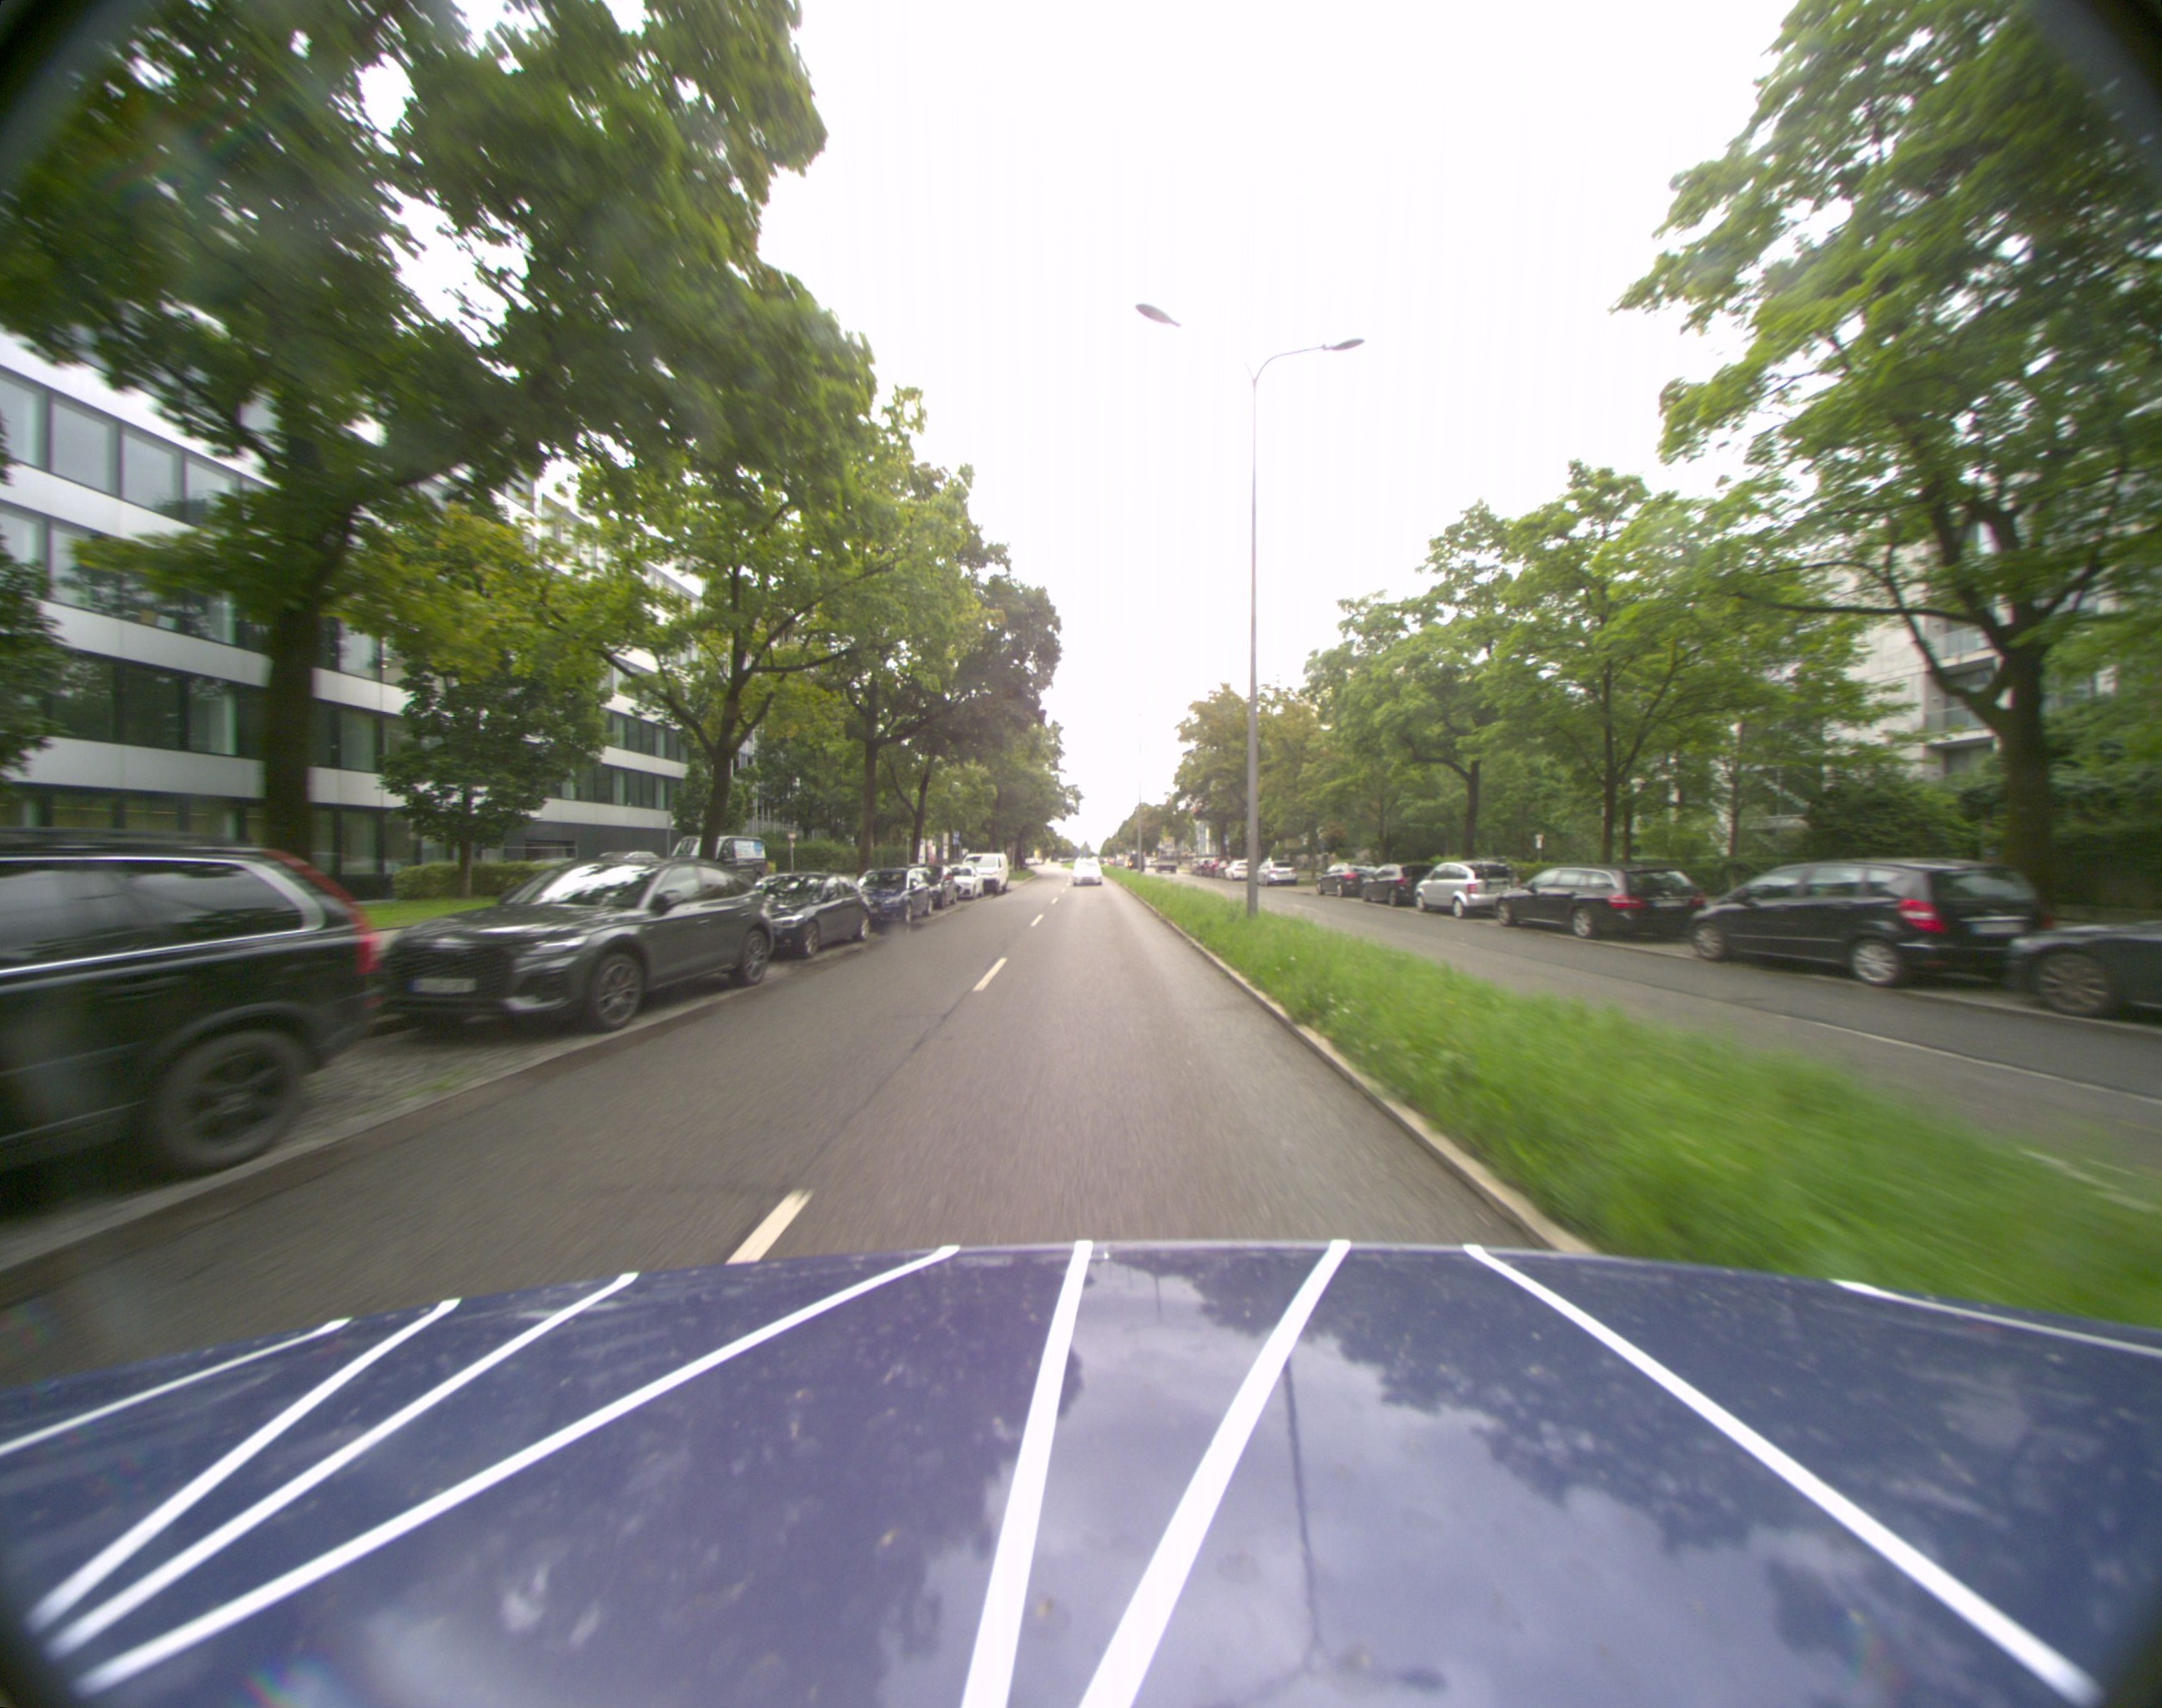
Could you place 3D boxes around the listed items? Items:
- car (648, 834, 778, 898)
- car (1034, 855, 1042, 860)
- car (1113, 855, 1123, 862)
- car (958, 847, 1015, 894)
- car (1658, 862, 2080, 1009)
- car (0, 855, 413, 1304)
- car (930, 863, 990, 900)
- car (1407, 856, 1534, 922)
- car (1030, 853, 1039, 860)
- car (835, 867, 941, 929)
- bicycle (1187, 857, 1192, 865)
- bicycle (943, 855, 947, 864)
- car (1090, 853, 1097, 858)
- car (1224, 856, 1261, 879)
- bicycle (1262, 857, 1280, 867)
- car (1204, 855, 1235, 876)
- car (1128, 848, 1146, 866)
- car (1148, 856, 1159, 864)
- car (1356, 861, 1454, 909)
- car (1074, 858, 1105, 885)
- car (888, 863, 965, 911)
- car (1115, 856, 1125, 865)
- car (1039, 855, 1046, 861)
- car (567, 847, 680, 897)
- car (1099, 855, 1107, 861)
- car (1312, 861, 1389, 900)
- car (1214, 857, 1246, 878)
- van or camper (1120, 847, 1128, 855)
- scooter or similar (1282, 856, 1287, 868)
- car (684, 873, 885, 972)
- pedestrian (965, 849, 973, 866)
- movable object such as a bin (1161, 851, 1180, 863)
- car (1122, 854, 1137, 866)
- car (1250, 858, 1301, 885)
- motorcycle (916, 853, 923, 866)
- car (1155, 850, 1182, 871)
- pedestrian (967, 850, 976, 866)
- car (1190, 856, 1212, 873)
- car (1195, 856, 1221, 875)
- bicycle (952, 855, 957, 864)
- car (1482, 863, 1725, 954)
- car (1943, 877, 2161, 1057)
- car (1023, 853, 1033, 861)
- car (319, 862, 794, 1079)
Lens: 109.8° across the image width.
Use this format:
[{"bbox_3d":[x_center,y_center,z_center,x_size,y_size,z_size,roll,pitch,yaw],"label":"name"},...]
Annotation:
[{"bbox_3d":[-14.586,0.435,30.662,2.271,2.293,6.267,1,0,-1],"label":"car"},{"bbox_3d":[-10.633,0.936,189.002,1.590,1.310,3.735,1,0,1],"label":"car"},{"bbox_3d":[7.930,0.881,163.628,1.920,1.475,4.865,1,0,1],"label":"car"},{"bbox_3d":[-4.592,0.772,37.810,1.992,2.145,5.555,1,0,1],"label":"car"},{"bbox_3d":[10.663,0.964,10.847,1.689,1.587,4.210,-2,0,1],"label":"car"},{"bbox_3d":[-5.305,0.909,2.497,1.897,1.789,4.861,1,0,1],"label":"car"},{"bbox_3d":[-4.942,1.089,31.480,1.706,1.389,4.233,1,0,1],"label":"car"},{"bbox_3d":[10.913,0.916,21.588,1.629,1.638,3.868,-3,0,2],"label":"car"},{"bbox_3d":[-10.973,0.630,178.297,1.682,1.522,4.096,1,0,1],"label":"car"},{"bbox_3d":[-5.072,1.111,20.519,1.706,1.413,4.121,1,0,1],"label":"car"},{"bbox_3d":[14.824,0.935,103.713,0.409,1.071,1.955,-4,0,3],"label":"bicycle"},{"bbox_3d":[-17.534,0.702,97.899,0.513,1.182,2.140,0,0,-10],"label":"bicycle"},{"bbox_3d":[3.378,0.295,211.864,1.787,1.397,4.101,1,0,-1],"label":"car"},{"bbox_3d":[11.516,0.927,54.503,1.743,1.521,4.475,-2,0,1],"label":"car"},{"bbox_3d":[20.196,0.857,80.742,1.766,1.001,0.436,0,0,1],"label":"bicycle"},{"bbox_3d":[11.723,0.971,64.564,1.743,1.642,4.606,-2,0,-1],"label":"car"},{"bbox_3d":[6.387,0.313,86.902,1.785,2.017,4.818,1,0,0],"label":"car"},{"bbox_3d":[13.642,1.097,143.374,1.651,1.480,3.902,1,0,-1],"label":"car"},{"bbox_3d":[10.996,1.004,26.122,1.629,1.415,4.192,-3,0,2],"label":"car"},{"bbox_3d":[0.502,0.967,43.964,1.679,1.433,3.735,1,0,1],"label":"car"},{"bbox_3d":[-5.123,1.056,25.717,1.706,1.438,3.978,1,0,1],"label":"car"},{"bbox_3d":[7.290,1.203,143.059,1.770,1.615,4.376,1,0,1],"label":"car"},{"bbox_3d":[-10.519,1.007,206.099,1.590,1.495,3.735,1,0,1],"label":"car"},{"bbox_3d":[-17.974,0.669,30.130,1.847,1.807,4.471,1,0,-1],"label":"car"},{"bbox_3d":[5.547,0.917,194.468,1.962,1.471,4.259,0,0,1],"label":"car"},{"bbox_3d":[11.048,1.035,31.452,1.584,1.415,4.362,-3,0,0],"label":"car"},{"bbox_3d":[11.658,1.043,59.625,1.743,1.474,4.334,-2,0,1],"label":"car"},{"bbox_3d":[11.726,-0.835,208.437,2.020,2.004,5.198,1,0,1],"label":"van or camper"},{"bbox_3d":[20.066,0.768,74.761,0.436,1.120,1.291,0,0,13],"label":"scooter or similar"},{"bbox_3d":[-5.187,1.117,14.027,1.705,1.400,4.514,1,0,4],"label":"car"},{"bbox_3d":[-12.588,0.353,85.374,0.652,1.888,0.750,0,0,13],"label":"pedestrian"},{"bbox_3d":[14.113,0.444,120.093,2.199,1.941,3.998,0,0,-5],"label":"movable object such as a bin"},{"bbox_3d":[6.897,0.874,108.624,1.838,1.633,4.350,1,0,0],"label":"car"},{"bbox_3d":[11.433,1.002,44.879,1.741,1.440,4.822,-3,0,0],"label":"car"},{"bbox_3d":[-16.540,0.588,77.838,0.550,1.311,2.071,0,0,-14],"label":"motorcycle"},{"bbox_3d":[9.480,0.721,83.016,2.214,2.181,5.799,2,0,0],"label":"car"},{"bbox_3d":[-12.133,0.459,84.409,0.784,1.704,0.751,0,0,15],"label":"pedestrian"},{"bbox_3d":[11.963,0.990,75.974,1.651,1.604,3.819,-1,0,2],"label":"car"},{"bbox_3d":[11.744,1.020,70.497,1.743,1.634,4.685,-1,0,1],"label":"car"},{"bbox_3d":[-16.265,0.700,97.496,0.447,1.182,1.954,0,0,-2],"label":"bicycle"},{"bbox_3d":[10.801,1.019,16.285,1.720,1.515,5.034,-3,0,0],"label":"car"},{"bbox_3d":[10.582,1.044,6.095,1.764,1.504,4.948,-2,0,2],"label":"car"},{"bbox_3d":[-11.046,0.599,158.511,1.866,1.581,4.602,1,0,-2],"label":"car"},{"bbox_3d":[-5.130,0.958,8.503,1.817,1.666,4.800,1,0,3],"label":"car"}]
